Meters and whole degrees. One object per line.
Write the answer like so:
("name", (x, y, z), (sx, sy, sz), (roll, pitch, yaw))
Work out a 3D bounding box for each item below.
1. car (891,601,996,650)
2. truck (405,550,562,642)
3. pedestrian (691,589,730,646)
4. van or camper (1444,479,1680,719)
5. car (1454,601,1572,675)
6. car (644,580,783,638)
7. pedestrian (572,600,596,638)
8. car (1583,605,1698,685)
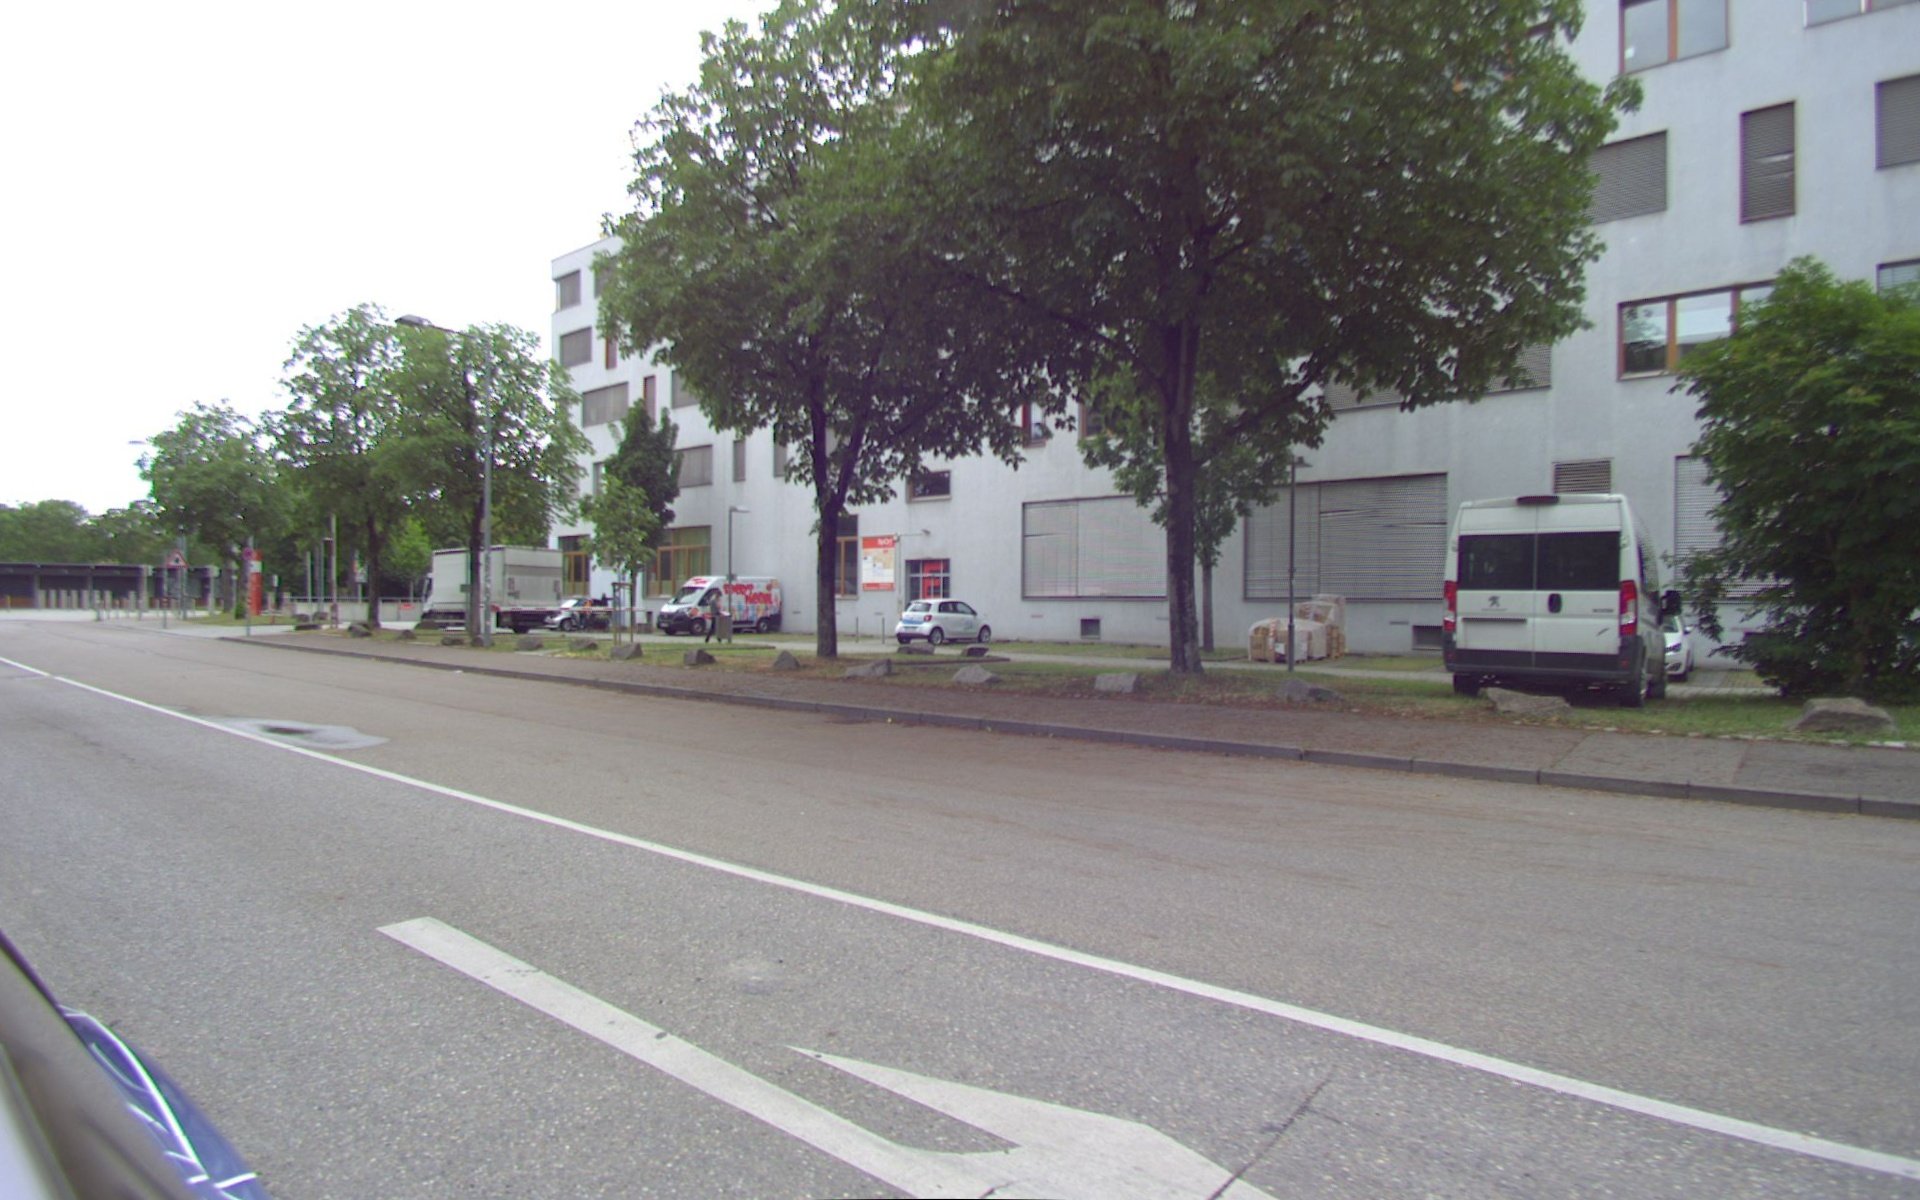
("car", (-0.516, 0.822, 34.534), (1.691, 1.511, 3.576), (1, 1, 40))
("truck", (-20.563, -0.242, 43.429), (8.354, 3.627, 2.651), (1, 1, 38))
("pedestrian", (-7.469, 0.503, 30.307), (0.785, 1.684, 0.836), (1, 1, 36))
("van or camper", (8.176, -0.047, 13.492), (2.059, 2.589, 4.923), (1, 1, 38))
("car", (12.738, 0.797, 23.209), (1.896, 1.467, 3.963), (1, 1, 36))
("car", (-10.288, 0.338, 42.702), (2.077, 2.296, 5.569), (1, 1, 40))
("pedestrian", (-16.231, 0.822, 43.712), (0.873, 1.618, 0.682), (0, 1, -29))
("car", (14.815, 0.891, 21.971), (1.896, 1.467, 3.963), (1, 1, 36))
